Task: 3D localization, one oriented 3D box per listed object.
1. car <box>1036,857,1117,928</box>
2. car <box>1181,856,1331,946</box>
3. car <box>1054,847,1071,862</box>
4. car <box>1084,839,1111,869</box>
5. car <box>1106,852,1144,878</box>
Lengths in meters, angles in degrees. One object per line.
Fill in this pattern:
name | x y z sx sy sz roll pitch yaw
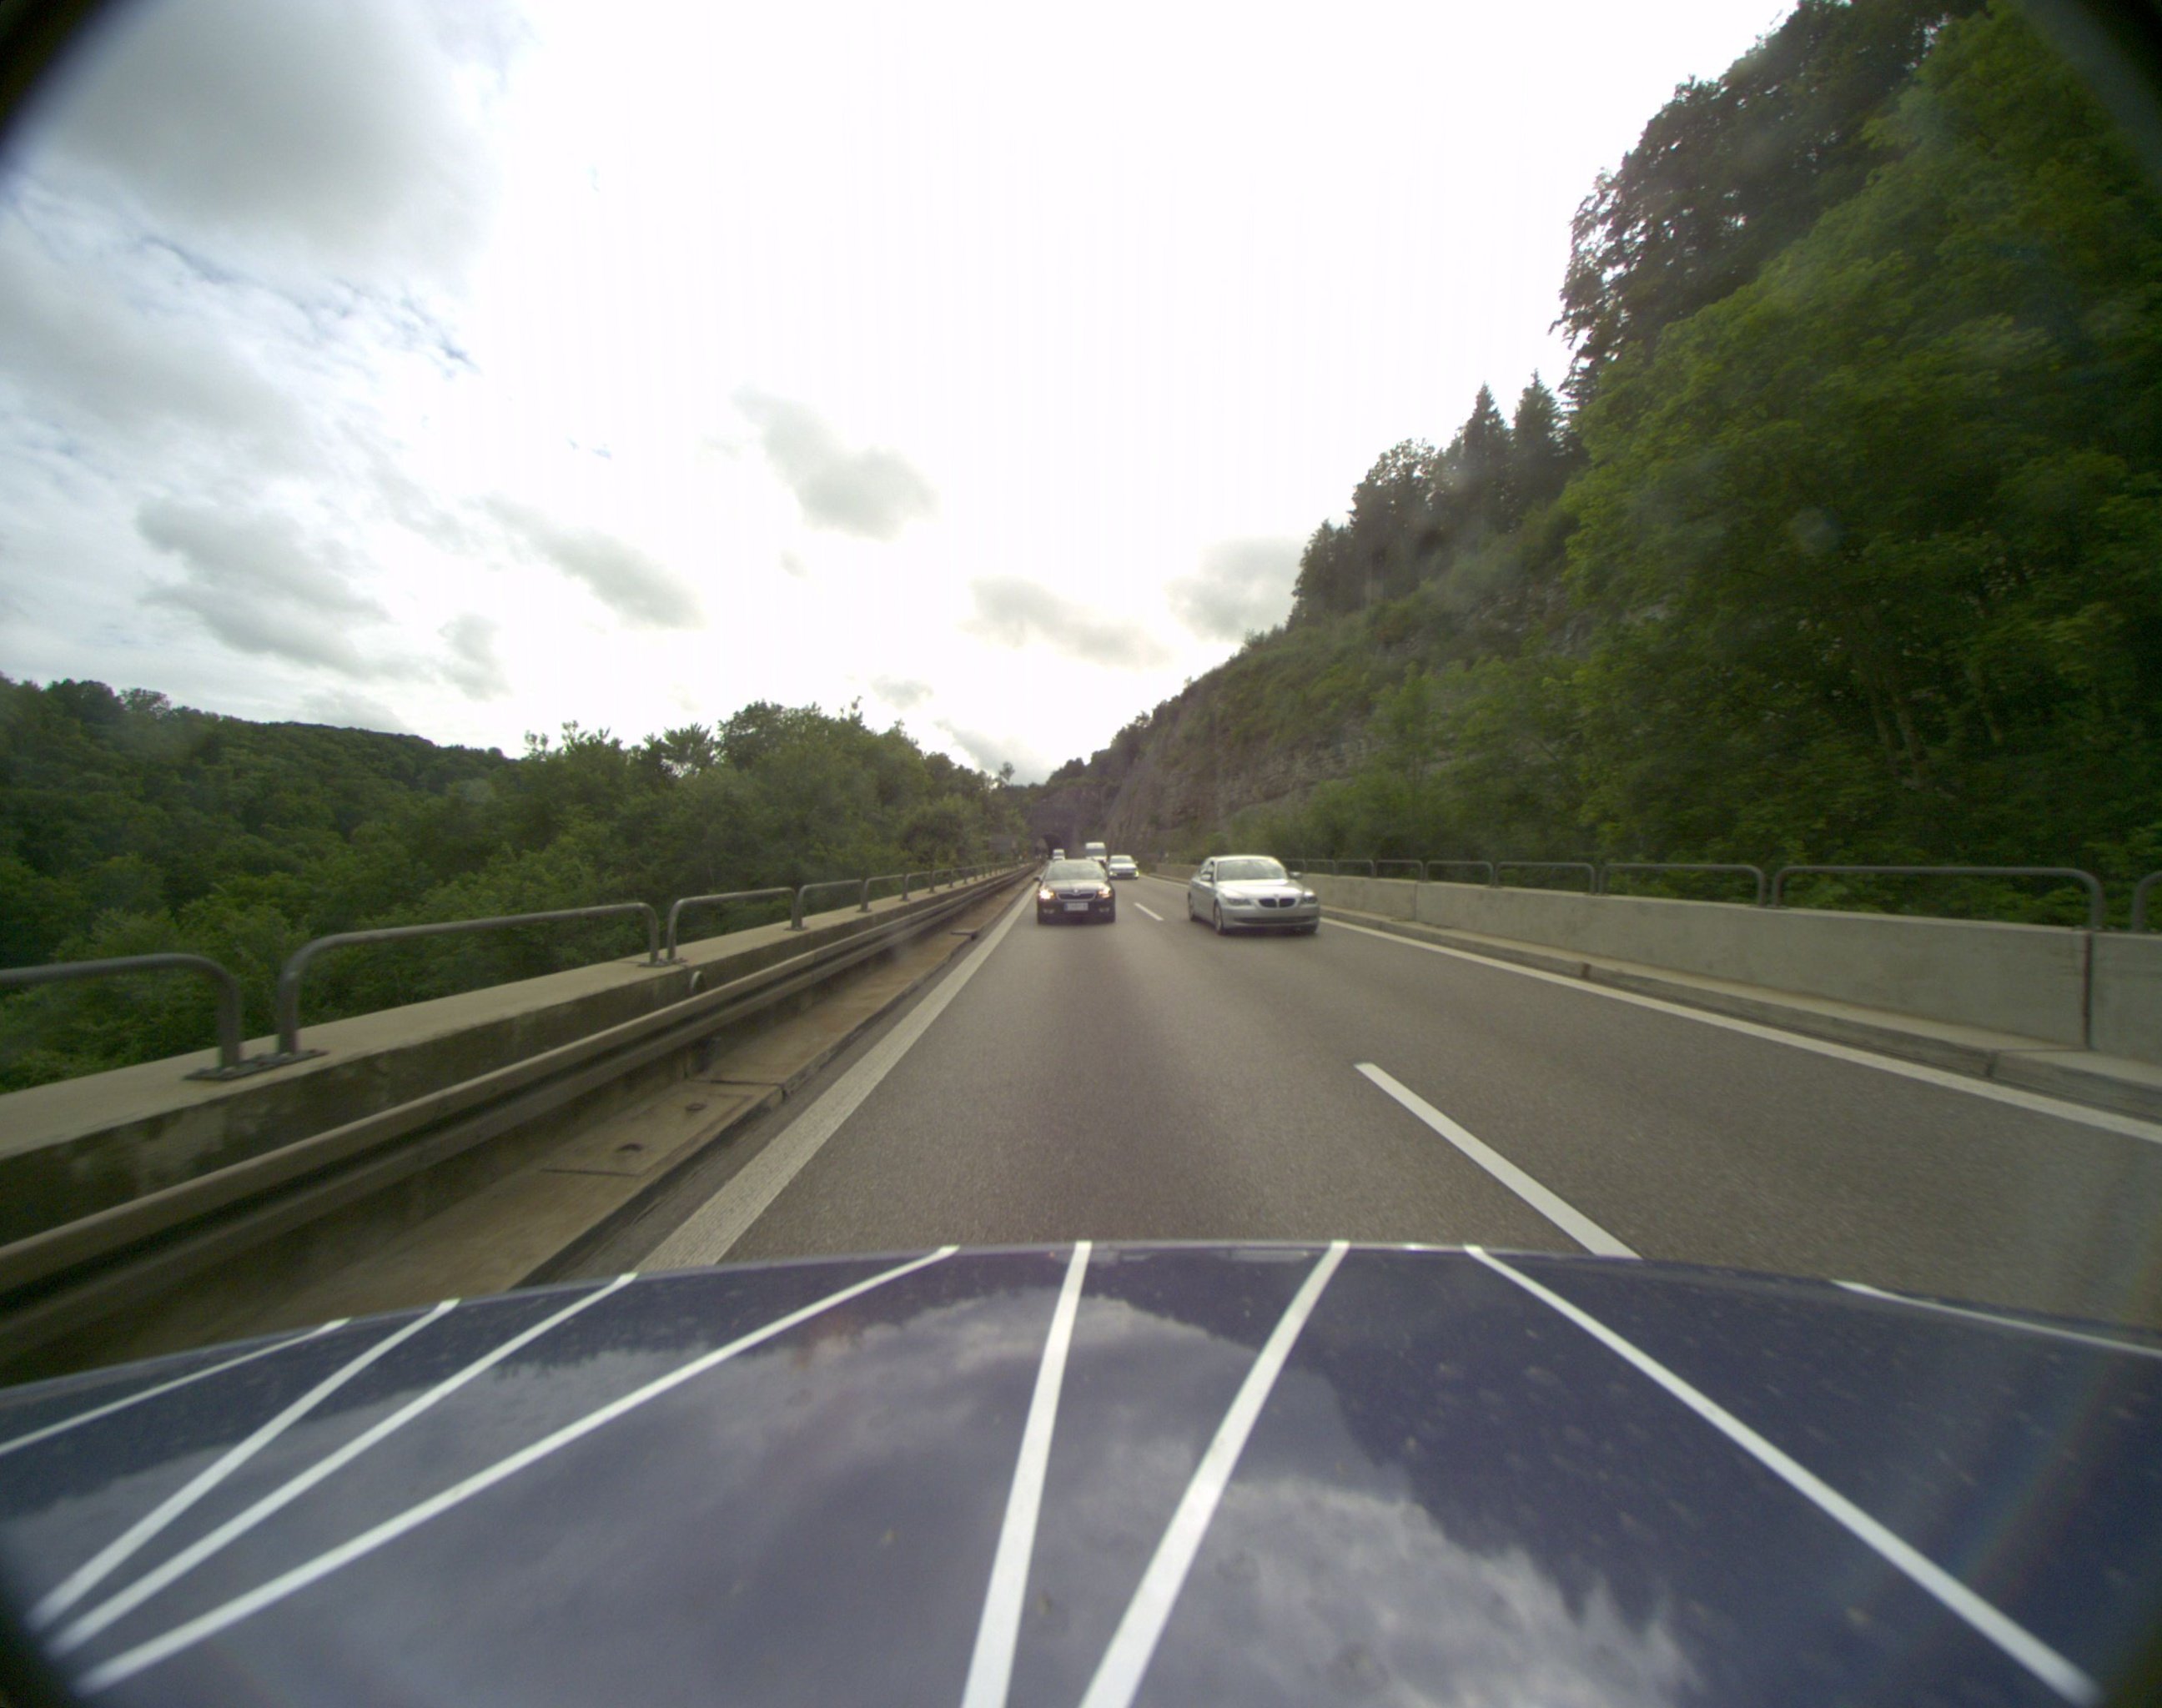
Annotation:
car | -0.106 0.836 18.457 1.677 1.418 4.472 -2 0 0
car | 3.310 0.801 15.474 1.833 1.448 5.135 -2 0 0
car | -3.307 0.037 132.472 2.675 2.408 6.119 -2 0 -3
car | 1.447 -0.087 67.588 1.869 2.444 4.980 -2 2 -4
car | 2.661 0.640 47.184 1.923 1.452 4.230 -2 0 -2
